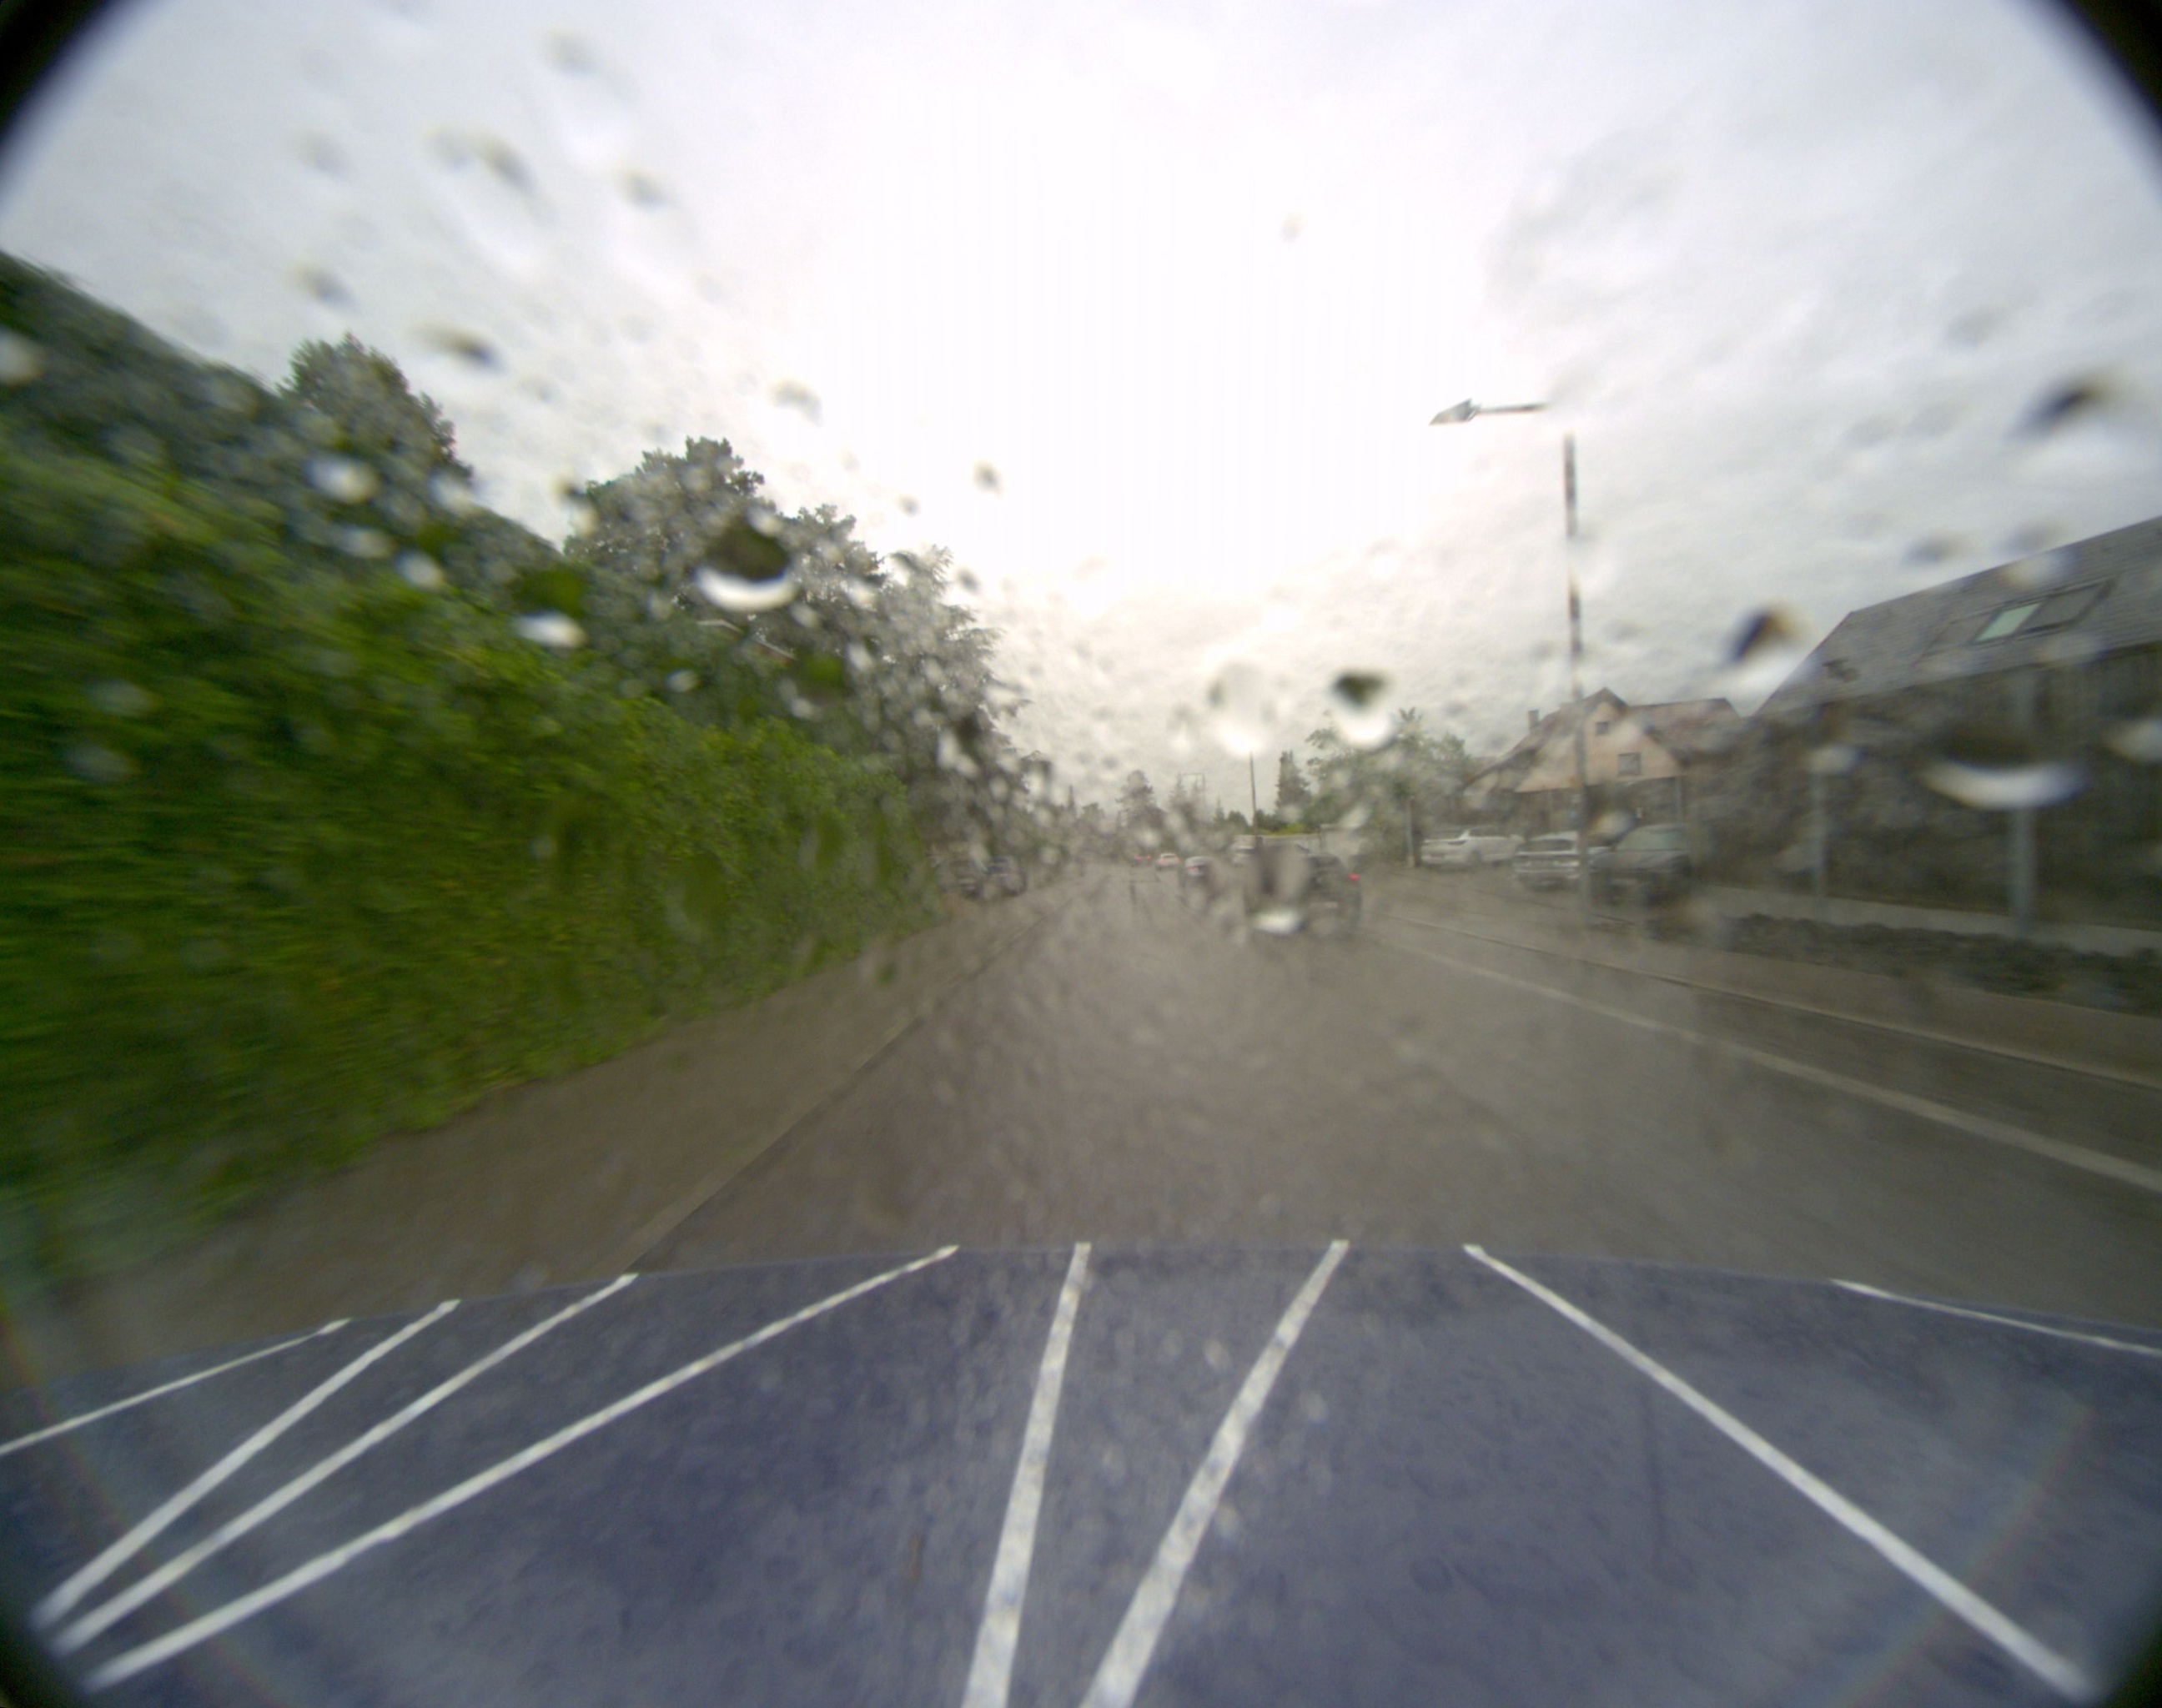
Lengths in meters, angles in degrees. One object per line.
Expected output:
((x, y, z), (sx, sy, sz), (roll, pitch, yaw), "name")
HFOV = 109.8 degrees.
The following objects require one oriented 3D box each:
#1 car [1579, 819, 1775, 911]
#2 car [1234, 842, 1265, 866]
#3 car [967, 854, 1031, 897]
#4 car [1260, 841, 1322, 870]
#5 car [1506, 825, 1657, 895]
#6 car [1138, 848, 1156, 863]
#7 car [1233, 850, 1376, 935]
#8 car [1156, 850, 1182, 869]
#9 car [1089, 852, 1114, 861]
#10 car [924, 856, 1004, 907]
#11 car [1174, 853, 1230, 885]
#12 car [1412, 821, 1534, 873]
((13.003, 0.202, 16.521), (4.299, 1.591, 1.834), (-4, 0, -30), "car")
((12.695, -0.009, 57.074), (1.707, 1.544, 4.394), (-4, 0, 18), "car")
((-3.383, 0.845, 32.227), (1.998, 1.660, 4.544), (-1, 0, 2), "car")
((11.581, 0.083, 42.244), (1.839, 1.397, 4.258), (-4, 0, -5), "car")
((13.438, 0.129, 20.308), (4.540, 1.434, 1.757), (-5, 1, -35), "car")
((7.304, 0.183, 84.597), (1.855, 1.461, 3.700), (-4, 0, 4), "car")
((4.458, 0.682, 15.869), (1.886, 1.441, 4.209), (-3, 0, 3), "car")
((7.488, 0.463, 64.881), (1.851, 1.452, 4.268), (-4, 0, 3), "car")
((3.583, 0.354, 133.700), (4.000, 1.264, 1.872), (-4, 1, -12), "car")
((-3.897, 0.892, 26.004), (1.814, 1.554, 4.011), (-1, 0, 5), "car")
((5.429, 0.640, 34.600), (1.886, 1.276, 4.209), (-3, 0, 1), "car")
((14.365, -0.251, 27.808), (4.063, 1.565, 1.939), (-4, 1, -28), "car")
